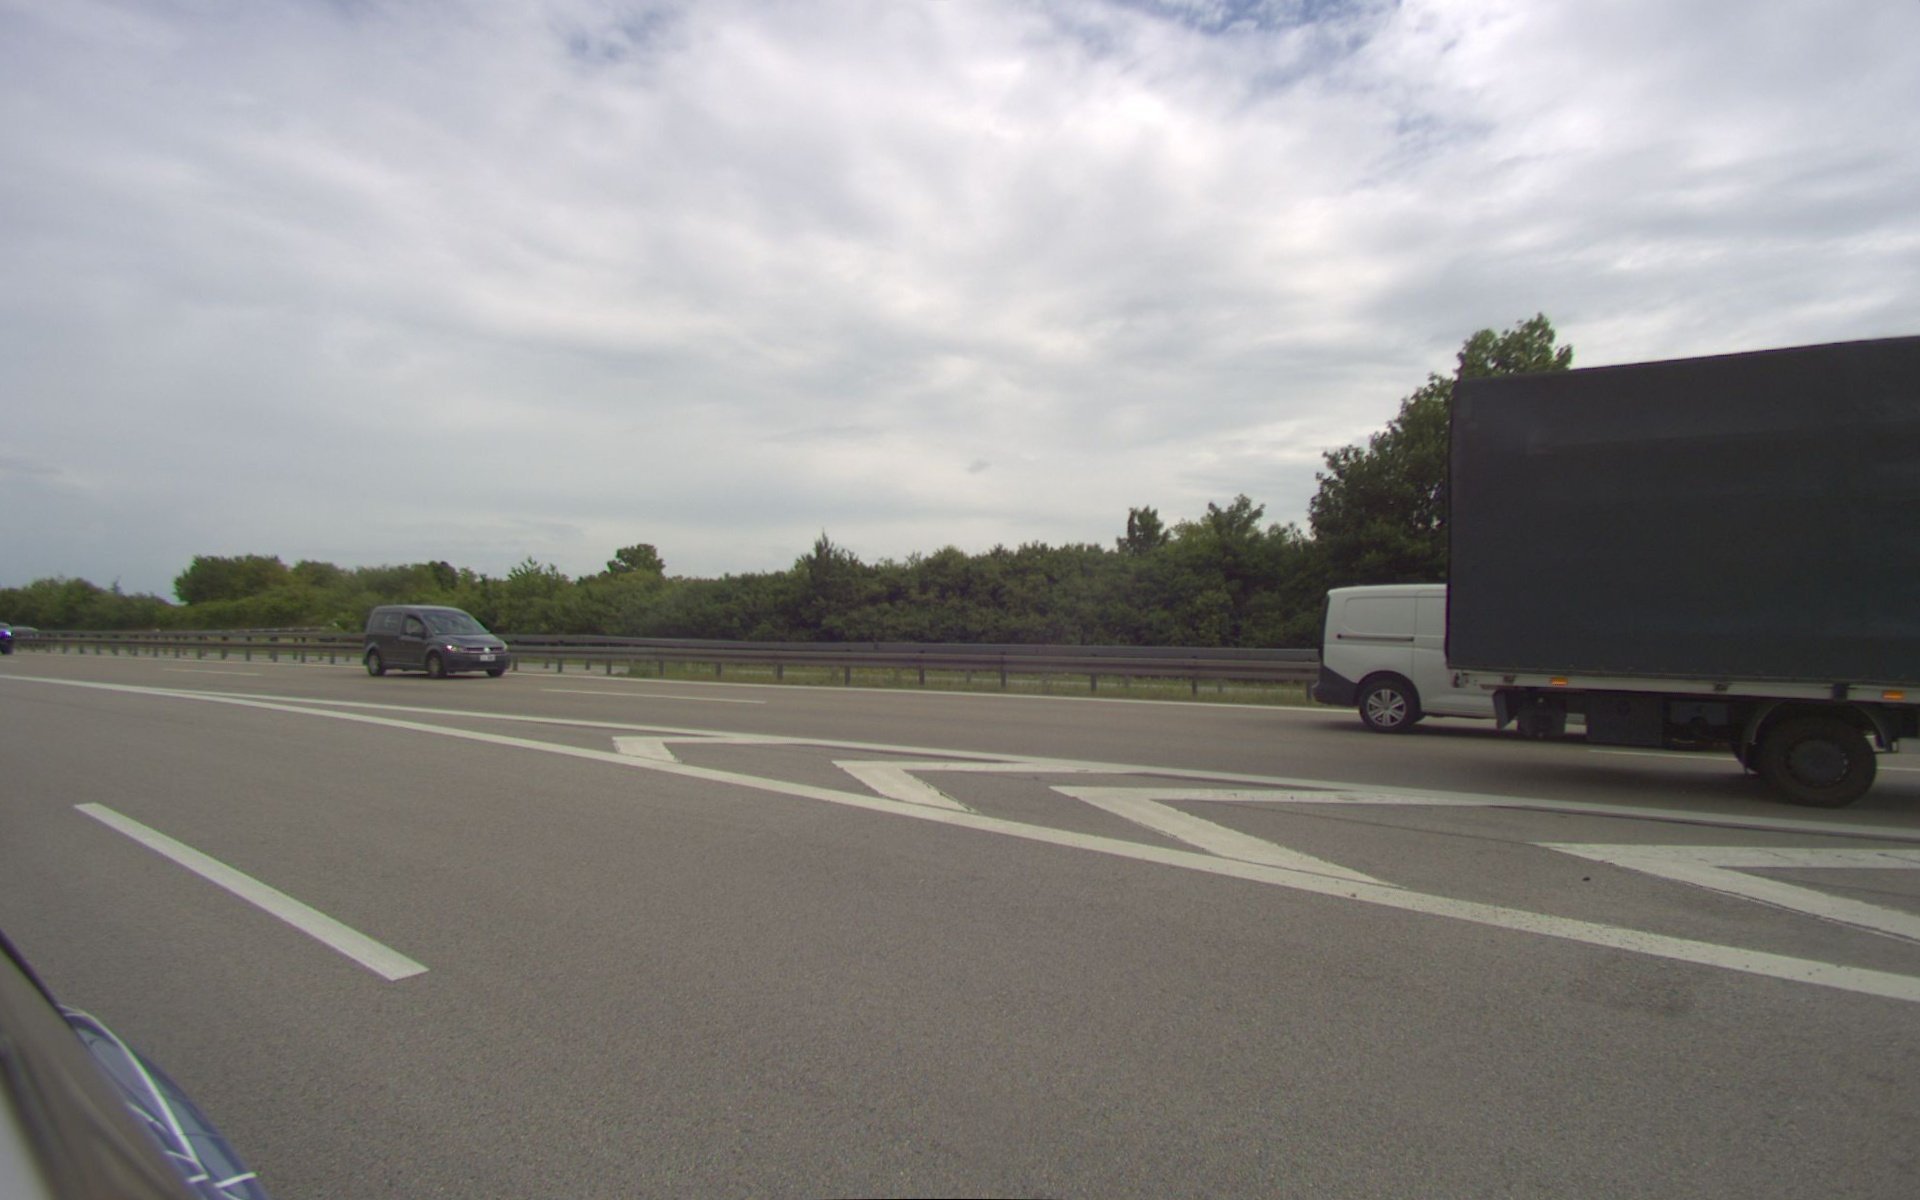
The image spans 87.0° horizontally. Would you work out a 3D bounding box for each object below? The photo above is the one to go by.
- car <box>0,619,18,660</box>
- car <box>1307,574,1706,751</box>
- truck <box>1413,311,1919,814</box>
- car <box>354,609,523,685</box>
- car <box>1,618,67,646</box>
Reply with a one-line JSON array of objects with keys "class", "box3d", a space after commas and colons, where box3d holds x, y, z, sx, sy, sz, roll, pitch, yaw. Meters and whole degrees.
[{"class": "car", "box3d": [-43.327, 1.698, 44.231, 4.813, 1.757, 1.978, -1, -3, 32]}, {"class": "car", "box3d": [6.529, 0.708, 12.369, 3.988, 1.824, 1.978, -1, -2, 33]}, {"class": "truck", "box3d": [7.791, -0.242, 7.447, 7.898, 3.396, 2.448, -1, -2, 32]}, {"class": "car", "box3d": [-13.161, 1.148, 25.473, 4.322, 1.772, 1.831, -1, -2, 32]}, {"class": "car", "box3d": [-59.303, 2.036, 64.792, 3.984, 1.697, 1.980, -1, -2, 30]}]
